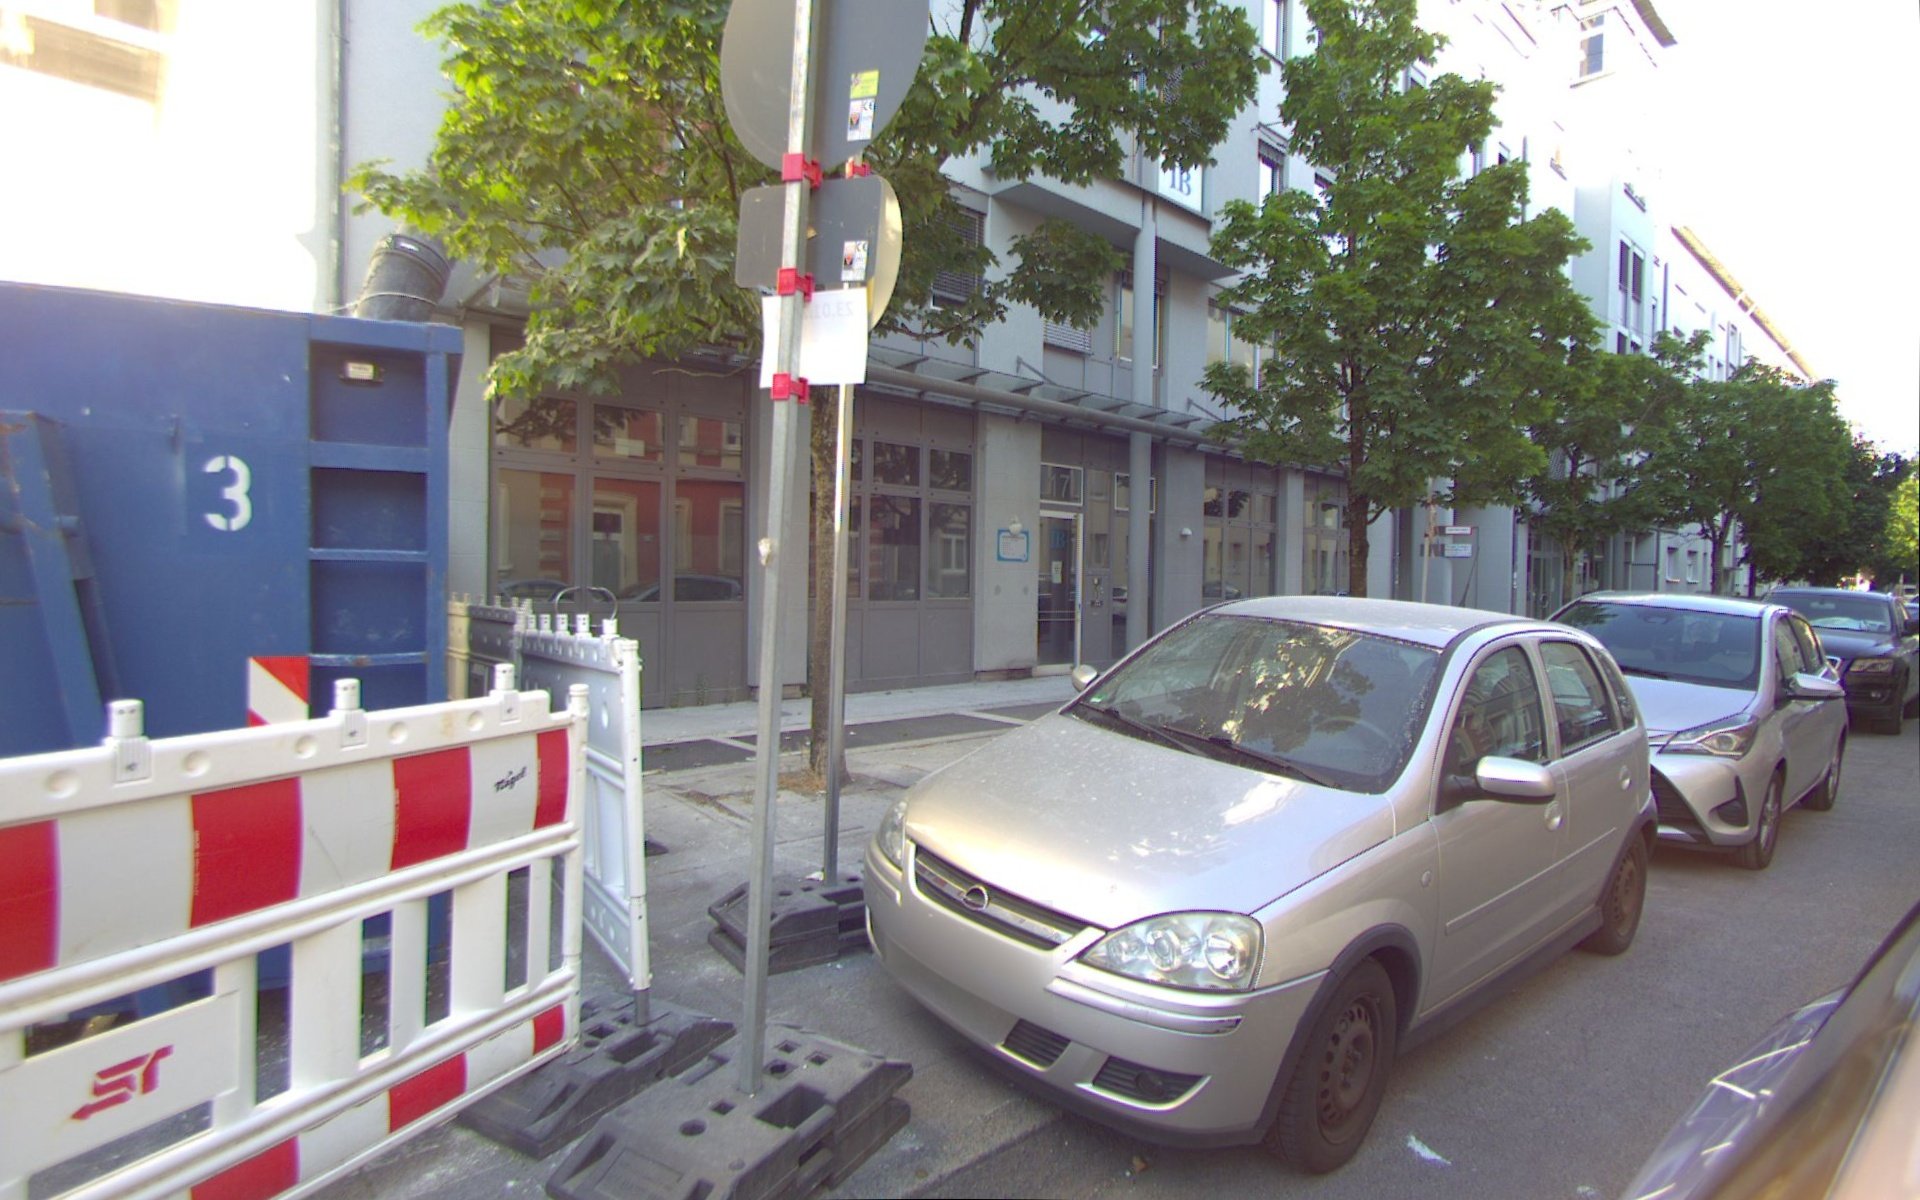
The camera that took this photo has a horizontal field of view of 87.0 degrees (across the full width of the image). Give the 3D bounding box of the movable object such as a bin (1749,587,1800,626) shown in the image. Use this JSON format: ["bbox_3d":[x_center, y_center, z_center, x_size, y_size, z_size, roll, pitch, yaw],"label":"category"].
[{"bbox_3d":[29.270,0.227,36.373,1.120,1.337,1.263,0,3,-43],"label":"movable object such as a bin"}]

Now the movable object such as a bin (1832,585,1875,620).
[{"bbox_3d":[40.159,0.102,45.501,1.202,1.454,1.286,0,3,-43],"label":"movable object such as a bin"}]

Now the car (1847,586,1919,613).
[{"bbox_3d":[59.914,-0.046,65.211,1.968,1.584,3.991,0,4,-44],"label":"car"}]

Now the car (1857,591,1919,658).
[{"bbox_3d":[22.940,0.554,24.222,4.272,1.446,1.766,-1,3,-43],"label":"car"}]

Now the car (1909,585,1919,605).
[{"bbox_3d":[87.517,-0.346,90.080,2.045,1.792,4.213,0,3,-41],"label":"car"}]

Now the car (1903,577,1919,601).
[{"bbox_3d":[96.742,-1.049,101.376,2.147,2.311,6.135,3,3,33],"label":"car"}]

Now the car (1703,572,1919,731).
[{"bbox_3d":[11.230,0.517,13.017,4.360,1.642,1.888,0,3,-43],"label":"car"}]

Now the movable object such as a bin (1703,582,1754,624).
[{"bbox_3d":[28.216,0.111,37.167,1.120,1.454,1.263,0,3,-43],"label":"movable object such as a bin"}]

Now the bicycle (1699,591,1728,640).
[{"bbox_3d":[19.218,0.370,25.817,0.519,1.182,1.718,3,3,36],"label":"bicycle"}]

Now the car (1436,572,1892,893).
[{"bbox_3d":[5.000,0.636,6.977,3.902,1.543,1.679,0,3,-42],"label":"car"}]

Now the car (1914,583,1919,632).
[{"bbox_3d":[34.875,0.293,35.475,4.646,1.655,1.873,-1,4,-45],"label":"car"}]

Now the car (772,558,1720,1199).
[{"bbox_3d":[1.332,0.652,3.849,3.664,1.493,1.680,0,3,-40],"label":"car"}]
